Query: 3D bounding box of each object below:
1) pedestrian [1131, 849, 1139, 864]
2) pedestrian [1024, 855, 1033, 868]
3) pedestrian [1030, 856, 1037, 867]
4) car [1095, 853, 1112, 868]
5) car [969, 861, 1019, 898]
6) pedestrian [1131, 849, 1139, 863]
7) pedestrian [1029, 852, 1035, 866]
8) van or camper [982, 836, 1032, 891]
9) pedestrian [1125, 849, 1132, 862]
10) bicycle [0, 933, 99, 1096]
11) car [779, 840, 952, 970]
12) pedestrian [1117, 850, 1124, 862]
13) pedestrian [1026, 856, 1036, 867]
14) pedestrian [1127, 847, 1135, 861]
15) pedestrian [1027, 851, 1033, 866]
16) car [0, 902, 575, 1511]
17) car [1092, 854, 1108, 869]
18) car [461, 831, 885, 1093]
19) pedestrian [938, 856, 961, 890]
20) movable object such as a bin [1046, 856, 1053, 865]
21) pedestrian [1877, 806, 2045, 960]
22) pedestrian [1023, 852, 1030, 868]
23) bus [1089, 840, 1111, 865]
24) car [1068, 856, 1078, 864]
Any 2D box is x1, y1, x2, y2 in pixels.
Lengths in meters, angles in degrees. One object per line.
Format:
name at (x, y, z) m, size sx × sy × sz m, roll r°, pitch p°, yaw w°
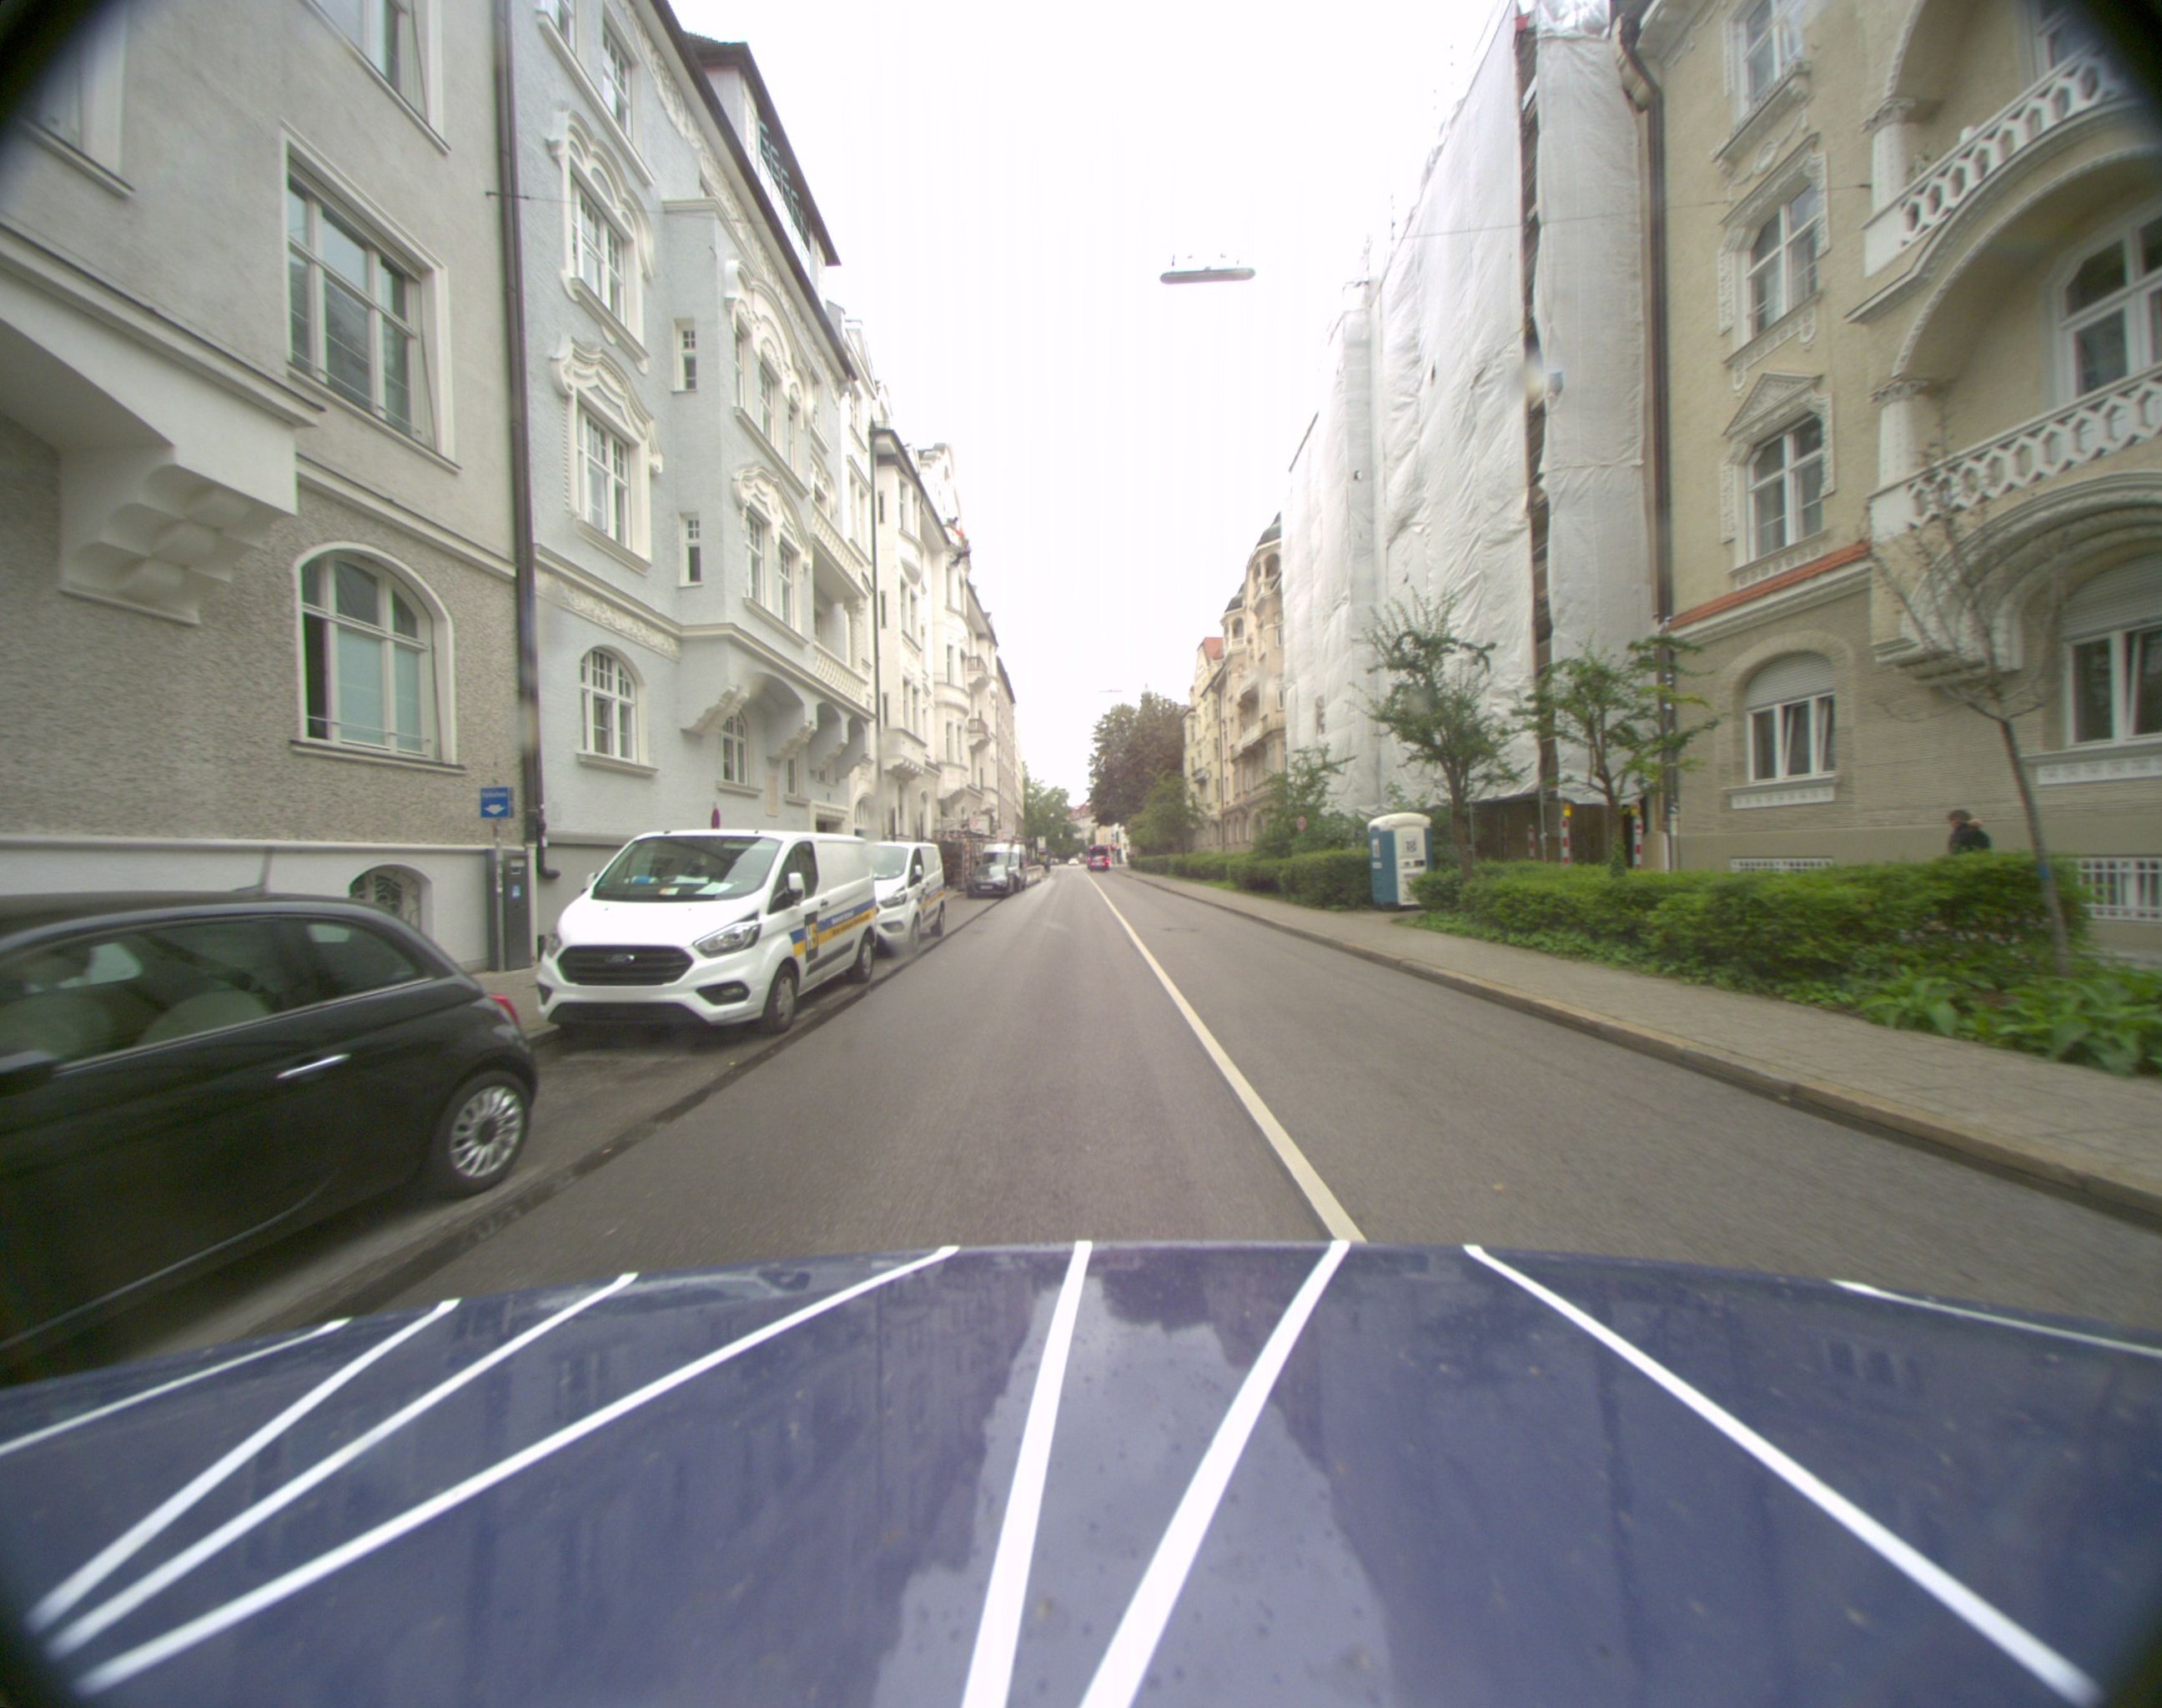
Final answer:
pedestrian at (6.542, 0.303, 92.154) m, size 0.910 × 1.735 × 0.847 m, roll -1°, pitch 1°, yaw -1°
pedestrian at (-5.842, 0.814, 84.344) m, size 0.862 × 1.344 × 0.862 m, roll -1°, pitch 1°, yaw 0°
pedestrian at (-5.468, 0.865, 87.084) m, size 0.709 × 1.230 × 0.585 m, roll -1°, pitch 1°, yaw 0°
car at (2.616, 0.715, 88.764) m, size 1.772 × 1.635 × 4.273 m, roll -1°, pitch 0°, yaw -1°
car at (-3.763, 1.076, 33.378) m, size 1.758 × 1.426 × 4.086 m, roll -1°, pitch 0°, yaw -1°
pedestrian at (6.618, 0.279, 93.903) m, size 0.875 × 1.735 × 0.910 m, roll -1°, pitch 1°, yaw -1°
pedestrian at (-5.909, 0.622, 91.458) m, size 0.659 × 1.723 × 0.696 m, roll -1°, pitch 1°, yaw 0°
van or camper at (-3.742, 0.435, 39.330) m, size 1.958 × 2.621 × 5.458 m, roll -2°, pitch 0°, yaw 0°
pedestrian at (7.726, 0.263, 124.081) m, size 0.952 × 2.002 × 1.397 m, roll -1°, pitch 1°, yaw 10°
bicycle at (-7.953, 1.159, 4.852) m, size 0.696 × 1.087 × 2.037 m, roll 0°, pitch 0°, yaw 1°
car at (-3.809, 0.805, 14.453) m, size 1.964 × 2.002 × 4.992 m, roll -1°, pitch 0°, yaw -2°
pedestrian at (6.455, 0.287, 124.228) m, size 0.952 × 2.002 × 1.397 m, roll -1°, pitch 1°, yaw 10°
pedestrian at (-5.654, 0.850, 86.042) m, size 1.099 × 1.230 × 0.668 m, roll -1°, pitch 1°, yaw 0°
pedestrian at (7.255, -0.003, 110.336) m, size 0.832 × 2.002 × 0.778 m, roll -3°, pitch 1°, yaw -43°
pedestrian at (-6.303, 0.569, 94.536) m, size 0.659 × 1.812 × 0.696 m, roll -1°, pitch 1°, yaw 0°
car at (-3.709, 1.032, 2.363) m, size 1.635 × 1.475 × 3.783 m, roll -1°, pitch 0°, yaw 1°
car at (2.083, 0.781, 82.352) m, size 1.588 × 1.470 × 3.782 m, roll -1°, pitch 0°, yaw -1°
car at (-3.708, 0.811, 8.225) m, size 1.964 × 1.926 × 4.992 m, roll -1°, pitch 0°, yaw -2°
pedestrian at (-6.231, 0.883, 36.047) m, size 0.923 × 1.546 × 1.016 m, roll 0°, pitch 2°, yaw 0°
movable object such as a bin at (-4.185, 0.853, 100.736) m, size 0.877 × 1.243 × 0.798 m, roll -1°, pitch 1°, yaw -6°
pedestrian at (10.518, 0.328, 9.123) m, size 0.916 × 1.741 × 0.948 m, roll -1°, pitch 1°, yaw 0°
pedestrian at (-5.834, 0.627, 81.663) m, size 0.704 × 1.723 × 0.746 m, roll -1°, pitch 1°, yaw 0°
bus at (2.406, -0.227, 98.836) m, size 2.586 × 3.083 × 8.922 m, roll -1°, pitch 0°, yaw 0°
car at (-1.644, 1.275, 159.800) m, size 1.927 × 1.608 × 3.999 m, roll -2°, pitch 0°, yaw -1°
